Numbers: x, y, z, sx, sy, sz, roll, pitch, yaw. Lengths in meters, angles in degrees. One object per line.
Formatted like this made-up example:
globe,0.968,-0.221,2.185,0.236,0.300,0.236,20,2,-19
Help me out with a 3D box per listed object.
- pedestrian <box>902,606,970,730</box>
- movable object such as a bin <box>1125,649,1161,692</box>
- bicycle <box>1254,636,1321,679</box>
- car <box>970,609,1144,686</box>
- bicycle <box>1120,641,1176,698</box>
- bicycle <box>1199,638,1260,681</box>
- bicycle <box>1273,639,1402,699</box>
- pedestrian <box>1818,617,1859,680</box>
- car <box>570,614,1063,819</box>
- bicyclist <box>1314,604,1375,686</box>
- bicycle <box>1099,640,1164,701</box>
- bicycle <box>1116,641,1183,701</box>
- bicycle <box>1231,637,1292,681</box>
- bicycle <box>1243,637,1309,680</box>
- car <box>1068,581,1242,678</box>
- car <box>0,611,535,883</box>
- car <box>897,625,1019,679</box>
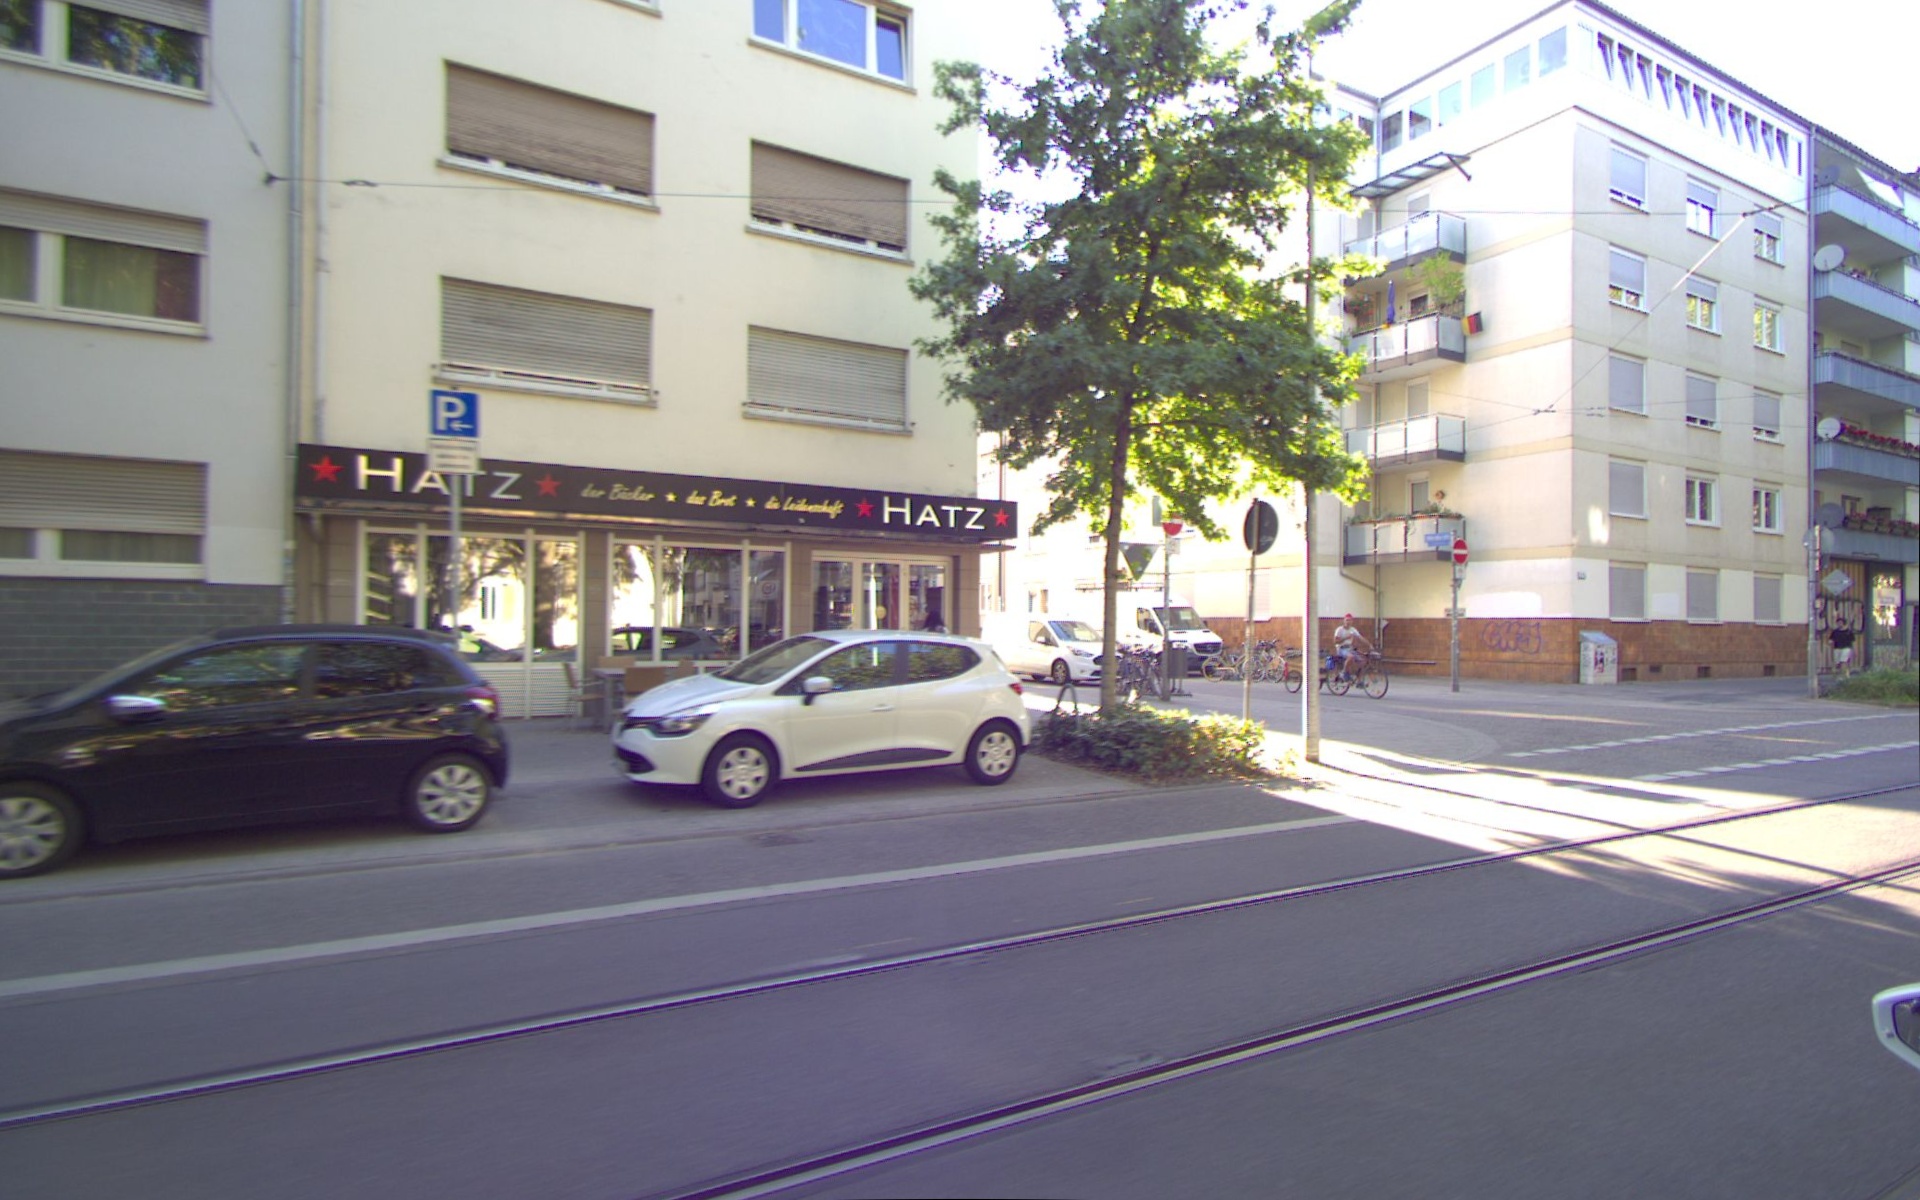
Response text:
pedestrian,-0.346,0.954,14.415,0.740,1.713,0.660,1,-1,-31
movable object such as a bin,4.306,1.644,23.636,0.636,0.986,0.588,2,-2,-40
bicycle,9.128,1.613,28.051,0.579,1.171,1.736,2,-4,-37
car,2.432,1.197,26.455,2.017,1.846,4.847,1,-2,-33
bicycle,4.056,1.491,21.802,0.562,1.171,1.948,0,-3,-9
bicycle,7.362,1.630,27.453,1.571,1.171,0.585,-1,-3,17
bicycle,8.204,1.474,21.992,0.909,1.172,2.786,1,-1,-26
pedestrian,26.145,1.435,29.897,0.954,1.850,0.660,1,-1,-31
car,-1.254,0.959,9.577,4.331,1.483,1.703,2,1,-33
bicyclist,8.328,0.957,21.767,0.896,1.726,0.869,1,-1,-26
bicycle,3.480,1.432,20.558,0.562,1.171,1.946,0,-3,-15
bicycle,3.872,1.448,20.674,0.562,1.171,1.946,0,-3,-15
bicycle,8.259,1.619,27.584,0.576,1.171,1.744,1,-3,-24
bicycle,8.772,1.629,27.935,0.579,1.171,1.736,2,-4,-37
car,5.972,0.917,31.666,2.145,2.759,5.780,1,-2,-30
car,-5.281,0.881,7.026,3.962,1.483,1.701,2,1,-36
car,-0.141,1.517,30.343,2.006,1.519,3.927,1,-2,-30
